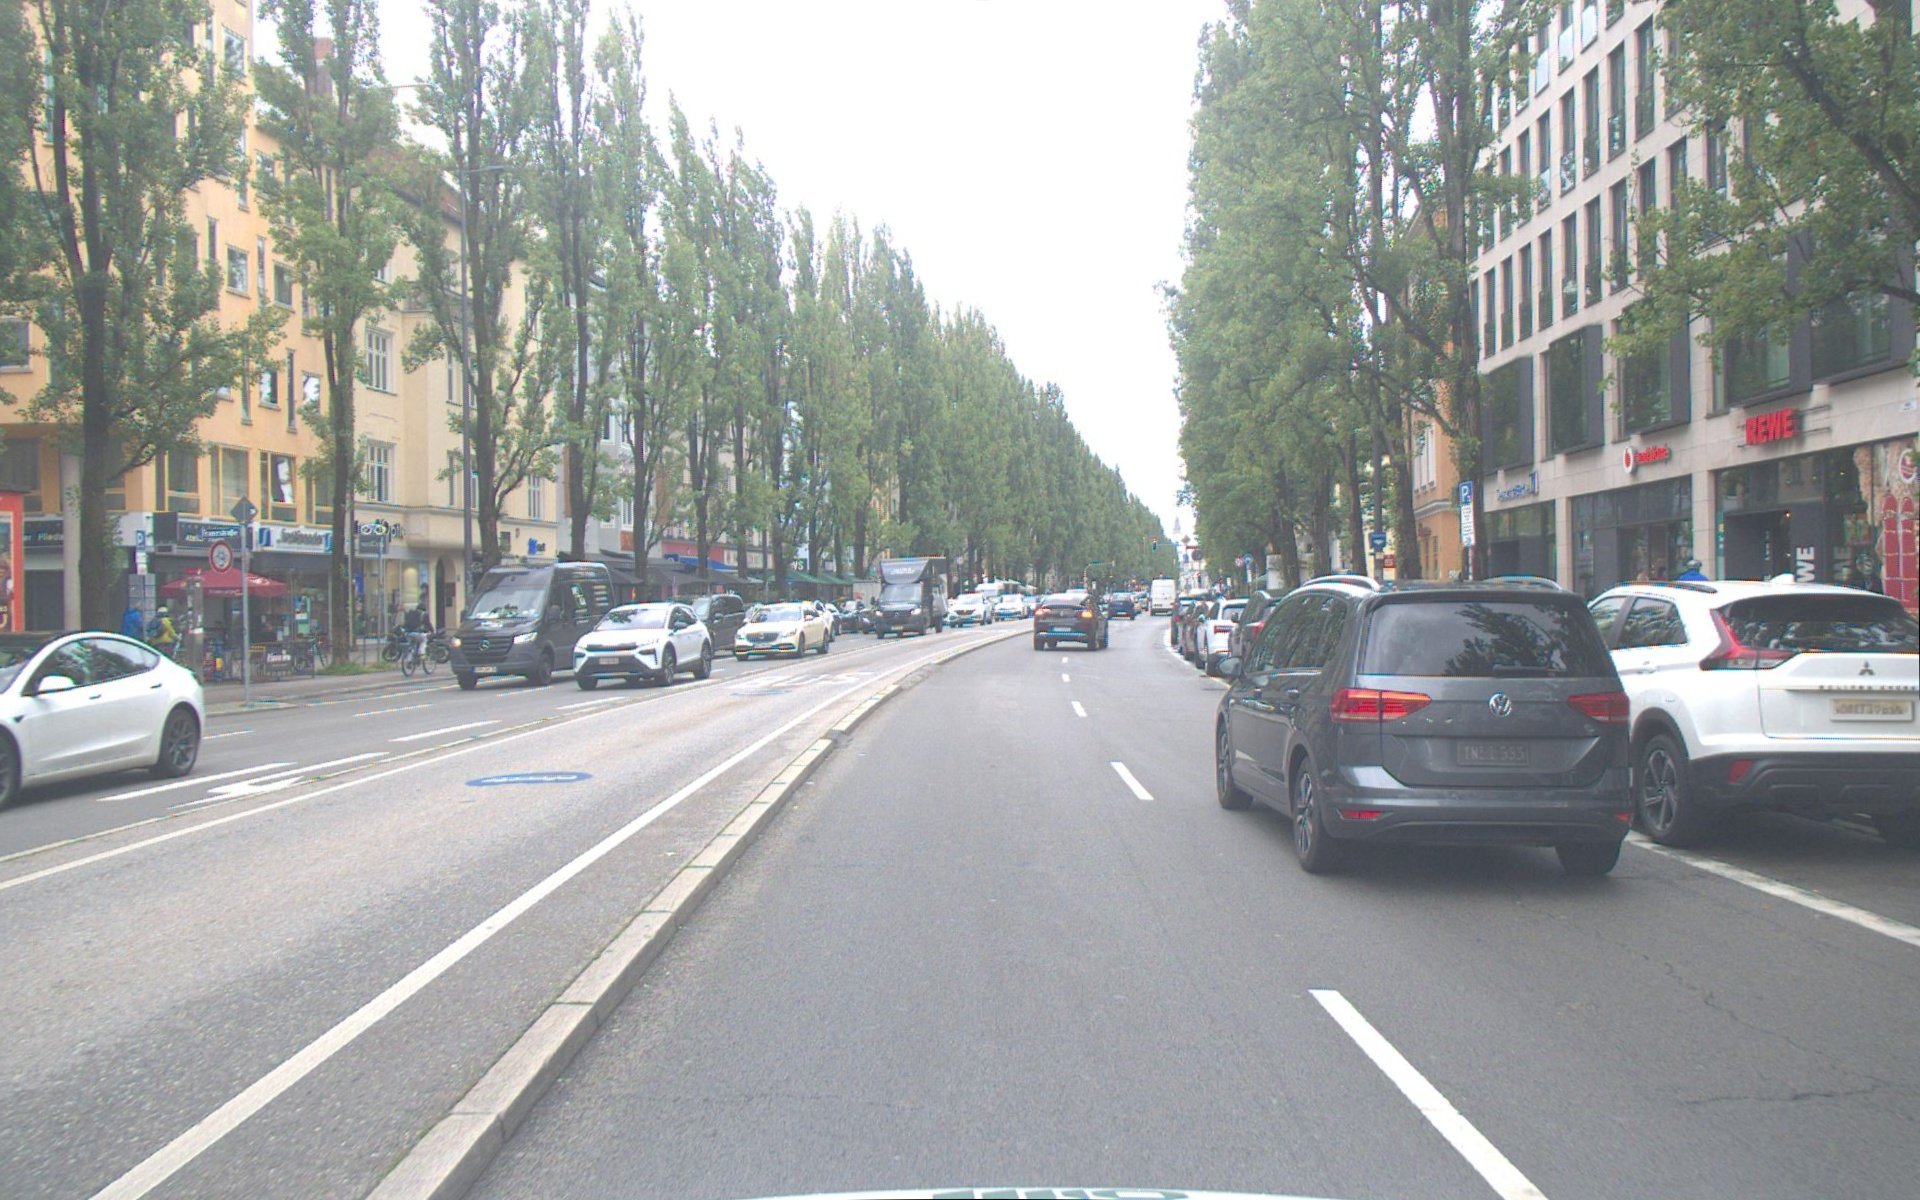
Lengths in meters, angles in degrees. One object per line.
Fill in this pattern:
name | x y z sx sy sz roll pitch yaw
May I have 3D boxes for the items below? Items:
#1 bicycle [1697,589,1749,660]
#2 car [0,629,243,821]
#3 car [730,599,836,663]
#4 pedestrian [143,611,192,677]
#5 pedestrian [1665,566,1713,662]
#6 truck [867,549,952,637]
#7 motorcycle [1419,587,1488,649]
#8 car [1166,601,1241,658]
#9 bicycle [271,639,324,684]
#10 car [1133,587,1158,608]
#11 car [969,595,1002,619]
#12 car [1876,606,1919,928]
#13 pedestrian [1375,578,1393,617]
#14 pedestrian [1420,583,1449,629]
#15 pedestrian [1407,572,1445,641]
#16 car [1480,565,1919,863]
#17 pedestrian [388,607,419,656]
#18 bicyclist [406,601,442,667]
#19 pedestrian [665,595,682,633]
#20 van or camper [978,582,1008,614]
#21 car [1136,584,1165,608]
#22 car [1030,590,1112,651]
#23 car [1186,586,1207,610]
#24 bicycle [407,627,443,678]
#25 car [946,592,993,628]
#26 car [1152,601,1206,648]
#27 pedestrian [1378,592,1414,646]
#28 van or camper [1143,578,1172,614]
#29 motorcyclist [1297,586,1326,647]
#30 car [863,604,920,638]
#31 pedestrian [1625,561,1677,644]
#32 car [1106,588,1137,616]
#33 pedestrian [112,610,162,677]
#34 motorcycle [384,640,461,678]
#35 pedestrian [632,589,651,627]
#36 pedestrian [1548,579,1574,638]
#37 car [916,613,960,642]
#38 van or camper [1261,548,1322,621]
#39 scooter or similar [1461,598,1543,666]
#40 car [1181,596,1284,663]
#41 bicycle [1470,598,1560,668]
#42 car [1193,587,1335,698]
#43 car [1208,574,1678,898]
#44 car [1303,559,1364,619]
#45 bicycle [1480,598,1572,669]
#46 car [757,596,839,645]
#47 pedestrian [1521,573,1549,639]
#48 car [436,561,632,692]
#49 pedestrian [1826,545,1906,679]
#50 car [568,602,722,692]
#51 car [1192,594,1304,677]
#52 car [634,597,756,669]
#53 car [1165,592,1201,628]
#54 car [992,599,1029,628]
bicycle | 13.401 0.411 29.078 0.440 1.192 1.770 -2 0 13
car | -8.358 1.048 14.609 1.762 1.419 4.692 -2 0 3
car | -5.020 0.841 47.675 1.951 1.616 5.199 -3 0 6
pedestrian | -19.822 1.093 41.375 0.822 1.654 0.764 0 -1 6
pedestrian | 12.866 0.235 29.213 0.597 1.647 0.795 -2 0 14
truck | -1.996 -0.288 68.504 2.242 3.381 7.163 -2 0 8
motorcycle | 11.311 0.403 37.944 0.675 1.380 1.634 -2 0 -19
car | 6.782 0.792 46.462 1.808 1.453 4.428 -1 0 5
bicycle | -15.615 1.445 39.026 0.449 0.980 1.881 -1 0 1
car | 16.423 -0.204 146.244 1.951 1.747 4.004 -2 0 10
car | 1.879 0.523 118.415 1.809 1.592 4.215 -2 -1 8
car | 5.280 0.780 5.578 1.735 1.458 4.569 1 0 -2
pedestrian | 18.270 -0.119 71.312 0.658 1.641 0.641 -2 0 11
pedestrian | 16.594 0.201 57.853 0.595 1.578 0.711 -2 0 -20
pedestrian | 13.261 0.181 47.059 0.800 1.902 0.939 -2 0 4
car | 5.261 0.649 11.758 1.692 1.716 4.407 0 0 -1
pedestrian | -18.457 1.049 54.856 0.620 1.589 0.816 -1 0 9
bicyclist | -13.350 0.833 41.221 0.491 1.620 0.835 -1 0 8
pedestrian | -14.246 0.696 82.306 0.624 1.894 0.648 -2 0 8
van or camper | 2.693 -0.179 134.180 1.951 2.501 4.255 -1 0 8
car | 14.981 -0.336 129.934 1.951 1.747 4.004 -2 0 10
car | 3.341 0.576 49.145 1.840 1.670 4.587 -1 0 11
car | 20.565 -0.139 144.036 1.766 2.027 4.003 0 -1 8
bicycle | -13.339 1.293 41.258 0.360 1.222 1.155 -1 0 9
car | 0.523 0.501 85.820 1.821 1.741 4.540 -2 0 8
car | 7.394 0.798 56.127 1.696 1.419 4.436 -2 0 6
pedestrian | 13.385 0.576 50.781 0.817 1.604 0.938 -1 0 0
van or camper | 14.462 -0.299 120.844 1.991 2.519 4.003 -1 -1 8
motorcyclist | 8.489 0.391 39.960 0.552 1.431 0.766 -2 0 5
car | -3.173 0.956 77.574 1.898 1.459 4.542 -2 0 7
pedestrian | 15.378 0.056 36.812 0.781 1.803 0.679 -2 0 -16
car | 9.905 0.144 101.261 1.722 1.648 3.750 0 -1 8
pedestrian | -20.698 1.092 41.602 0.822 1.654 0.764 0 -1 6
motorcycle | -15.230 1.678 46.891 2.019 1.054 0.485 0 -1 -13
pedestrian | -14.620 0.361 75.906 0.624 1.729 0.648 -2 0 8
pedestrian | 15.373 0.217 42.331 0.493 1.517 0.546 -1 0 33
car | -1.229 1.567 95.420 1.898 1.519 4.460 -2 0 7
van or camper | 15.043 -0.706 75.297 2.408 3.166 4.719 -2 0 9
scooter or similar | 10.178 0.595 31.080 1.405 1.222 0.311 -2 0 -1
car | 6.548 0.663 40.256 1.890 1.475 4.806 -1 0 2
bicycle | 10.208 0.597 30.462 1.448 1.228 0.536 -2 0 0
car | 5.093 0.684 28.300 1.884 1.730 4.652 0 -1 4
car | 2.781 0.685 10.530 1.725 1.642 4.183 0 0 -1
car | 15.714 -0.482 69.500 1.861 2.368 4.826 -2 0 20
bicycle | 10.228 0.593 29.895 1.448 1.228 0.536 -2 0 0
car | -6.002 0.734 61.776 1.951 1.680 4.640 -2 0 8
pedestrian | 14.674 0.152 42.179 0.540 1.666 0.557 -1 0 32
car | -9.392 0.536 37.116 2.124 2.651 6.069 -2 0 7
pedestrian | 13.628 0.179 24.894 0.633 1.958 0.926 -2 0 0
car | -6.380 0.911 33.966 1.869 1.631 4.358 -2 0 6
car | 5.875 0.667 34.191 1.772 1.526 4.808 -2 0 4
car | -7.794 0.925 49.207 1.951 1.896 5.716 -3 0 7
car | 10.620 0.447 78.846 1.589 1.592 4.375 -1 0 7
car | 3.238 0.838 105.048 1.898 1.671 4.467 -2 0 7
